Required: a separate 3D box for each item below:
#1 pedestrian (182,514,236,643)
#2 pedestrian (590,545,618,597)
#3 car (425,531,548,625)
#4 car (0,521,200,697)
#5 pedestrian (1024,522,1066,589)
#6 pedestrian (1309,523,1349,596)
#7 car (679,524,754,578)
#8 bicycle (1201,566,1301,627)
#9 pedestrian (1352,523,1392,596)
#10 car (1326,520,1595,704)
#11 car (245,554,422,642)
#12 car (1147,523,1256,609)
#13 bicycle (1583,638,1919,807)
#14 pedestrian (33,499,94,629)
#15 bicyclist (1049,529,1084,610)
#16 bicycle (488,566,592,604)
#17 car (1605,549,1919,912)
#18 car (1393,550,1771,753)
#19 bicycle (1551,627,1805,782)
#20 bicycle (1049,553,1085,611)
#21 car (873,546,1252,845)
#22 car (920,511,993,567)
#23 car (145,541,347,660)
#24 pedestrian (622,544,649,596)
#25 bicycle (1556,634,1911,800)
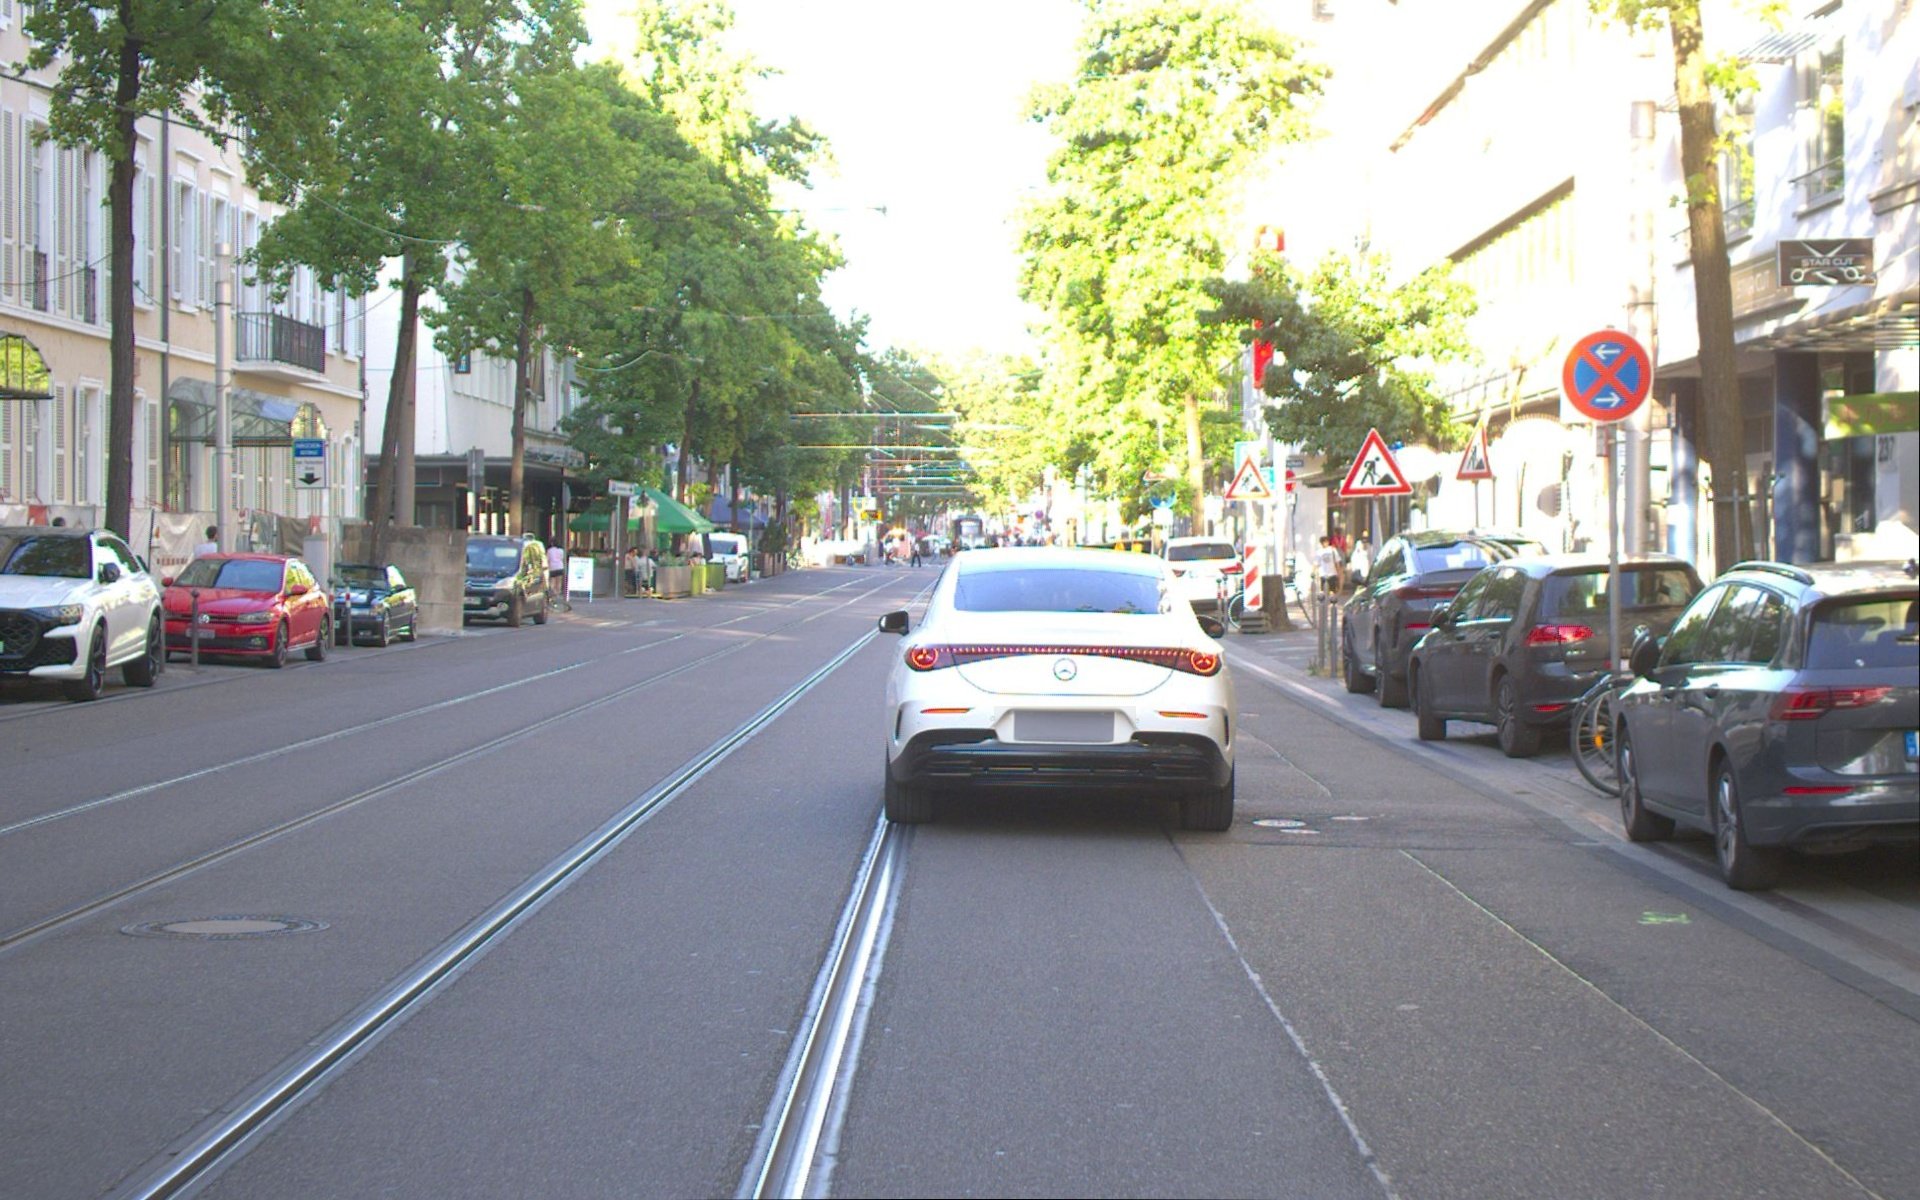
[{"bbox_3d":[-11.648,-0.339,53.317,0.707,1.997,0.675,0,1,-3],"label":"pedestrian"},{"bbox_3d":[-10.052,-0.831,97.031,0.569,1.459,0.649,0,1,20],"label":"pedestrian"},{"bbox_3d":[-9.247,-0.449,67.334,1.553,1.789,3.166,0,1,9],"label":"car"},{"bbox_3d":[-9.473,0.052,35.594,1.962,1.686,5.013,1,1,2],"label":"car"},{"bbox_3d":[2.240,-1.176,90.669,0.919,1.768,0.874,0,1,-14],"label":"pedestrian"},{"bbox_3d":[9.042,-0.998,84.360,0.799,1.768,0.683,0,1,-11],"label":"pedestrian"},{"bbox_3d":[-9.175,-1.861,129.974,1.994,2.007,3.999,0,1,9],"label":"car"},{"bbox_3d":[5.067,-0.061,59.975,1.723,1.058,0.581,0,1,4],"label":"bicycle"},{"bbox_3d":[10.093,-1.000,84.192,0.799,1.768,0.683,0,1,-11],"label":"pedestrian"},{"bbox_3d":[4.910,0.062,34.383,1.993,1.707,4.866,0,1,0],"label":"car"},{"bbox_3d":[-9.724,-0.054,53.632,1.993,1.287,4.000,1,1,0],"label":"car"},{"bbox_3d":[4.964,-0.716,71.076,1.993,1.722,4.241,0,1,1],"label":"car"},{"bbox_3d":[4.621,0.710,20.119,1.897,0.961,0.332,0,1,6],"label":"bicycle"},{"bbox_3d":[-12.494,-0.500,47.933,0.707,1.800,0.676,0,1,-5],"label":"pedestrian"},{"bbox_3d":[2.227,-0.639,71.862,0.724,1.697,0.811,0,1,1],"label":"bicyclist"},{"bbox_3d":[-9.446,-0.333,77.272,2.255,0.827,0.716,0,1,23],"label":"bicycle"},{"bbox_3d":[4.344,0.513,16.422,1.871,1.448,4.106,-2,1,2],"label":"car"},{"bbox_3d":[4.697,0.335,26.551,1.837,1.431,4.001,0,1,-6],"label":"car"},{"bbox_3d":[4.575,0.661,21.969,1.538,0.961,0.496,0,1,5],"label":"bicycle"},{"bbox_3d":[2.223,-0.384,71.828,0.740,1.184,2.160,0,0,1],"label":"bicycle"},{"bbox_3d":[0.519,0.438,18.993,1.868,1.464,4.042,0,1,0],"label":"car"},{"bbox_3d":[-0.199,-3.434,194.577,4.039,3.103,8.431,0,1,0],"label":"car"},{"bbox_3d":[-9.420,-0.020,45.680,1.689,1.494,4.234,1,1,2],"label":"car"},{"bbox_3d":[-9.314,-0.866,98.592,0.517,1.473,0.650,-3,0,-27],"label":"pedestrian"},{"bbox_3d":[4.592,0.691,20.464,2.038,0.961,0.282,0,1,6],"label":"bicycle"}]
